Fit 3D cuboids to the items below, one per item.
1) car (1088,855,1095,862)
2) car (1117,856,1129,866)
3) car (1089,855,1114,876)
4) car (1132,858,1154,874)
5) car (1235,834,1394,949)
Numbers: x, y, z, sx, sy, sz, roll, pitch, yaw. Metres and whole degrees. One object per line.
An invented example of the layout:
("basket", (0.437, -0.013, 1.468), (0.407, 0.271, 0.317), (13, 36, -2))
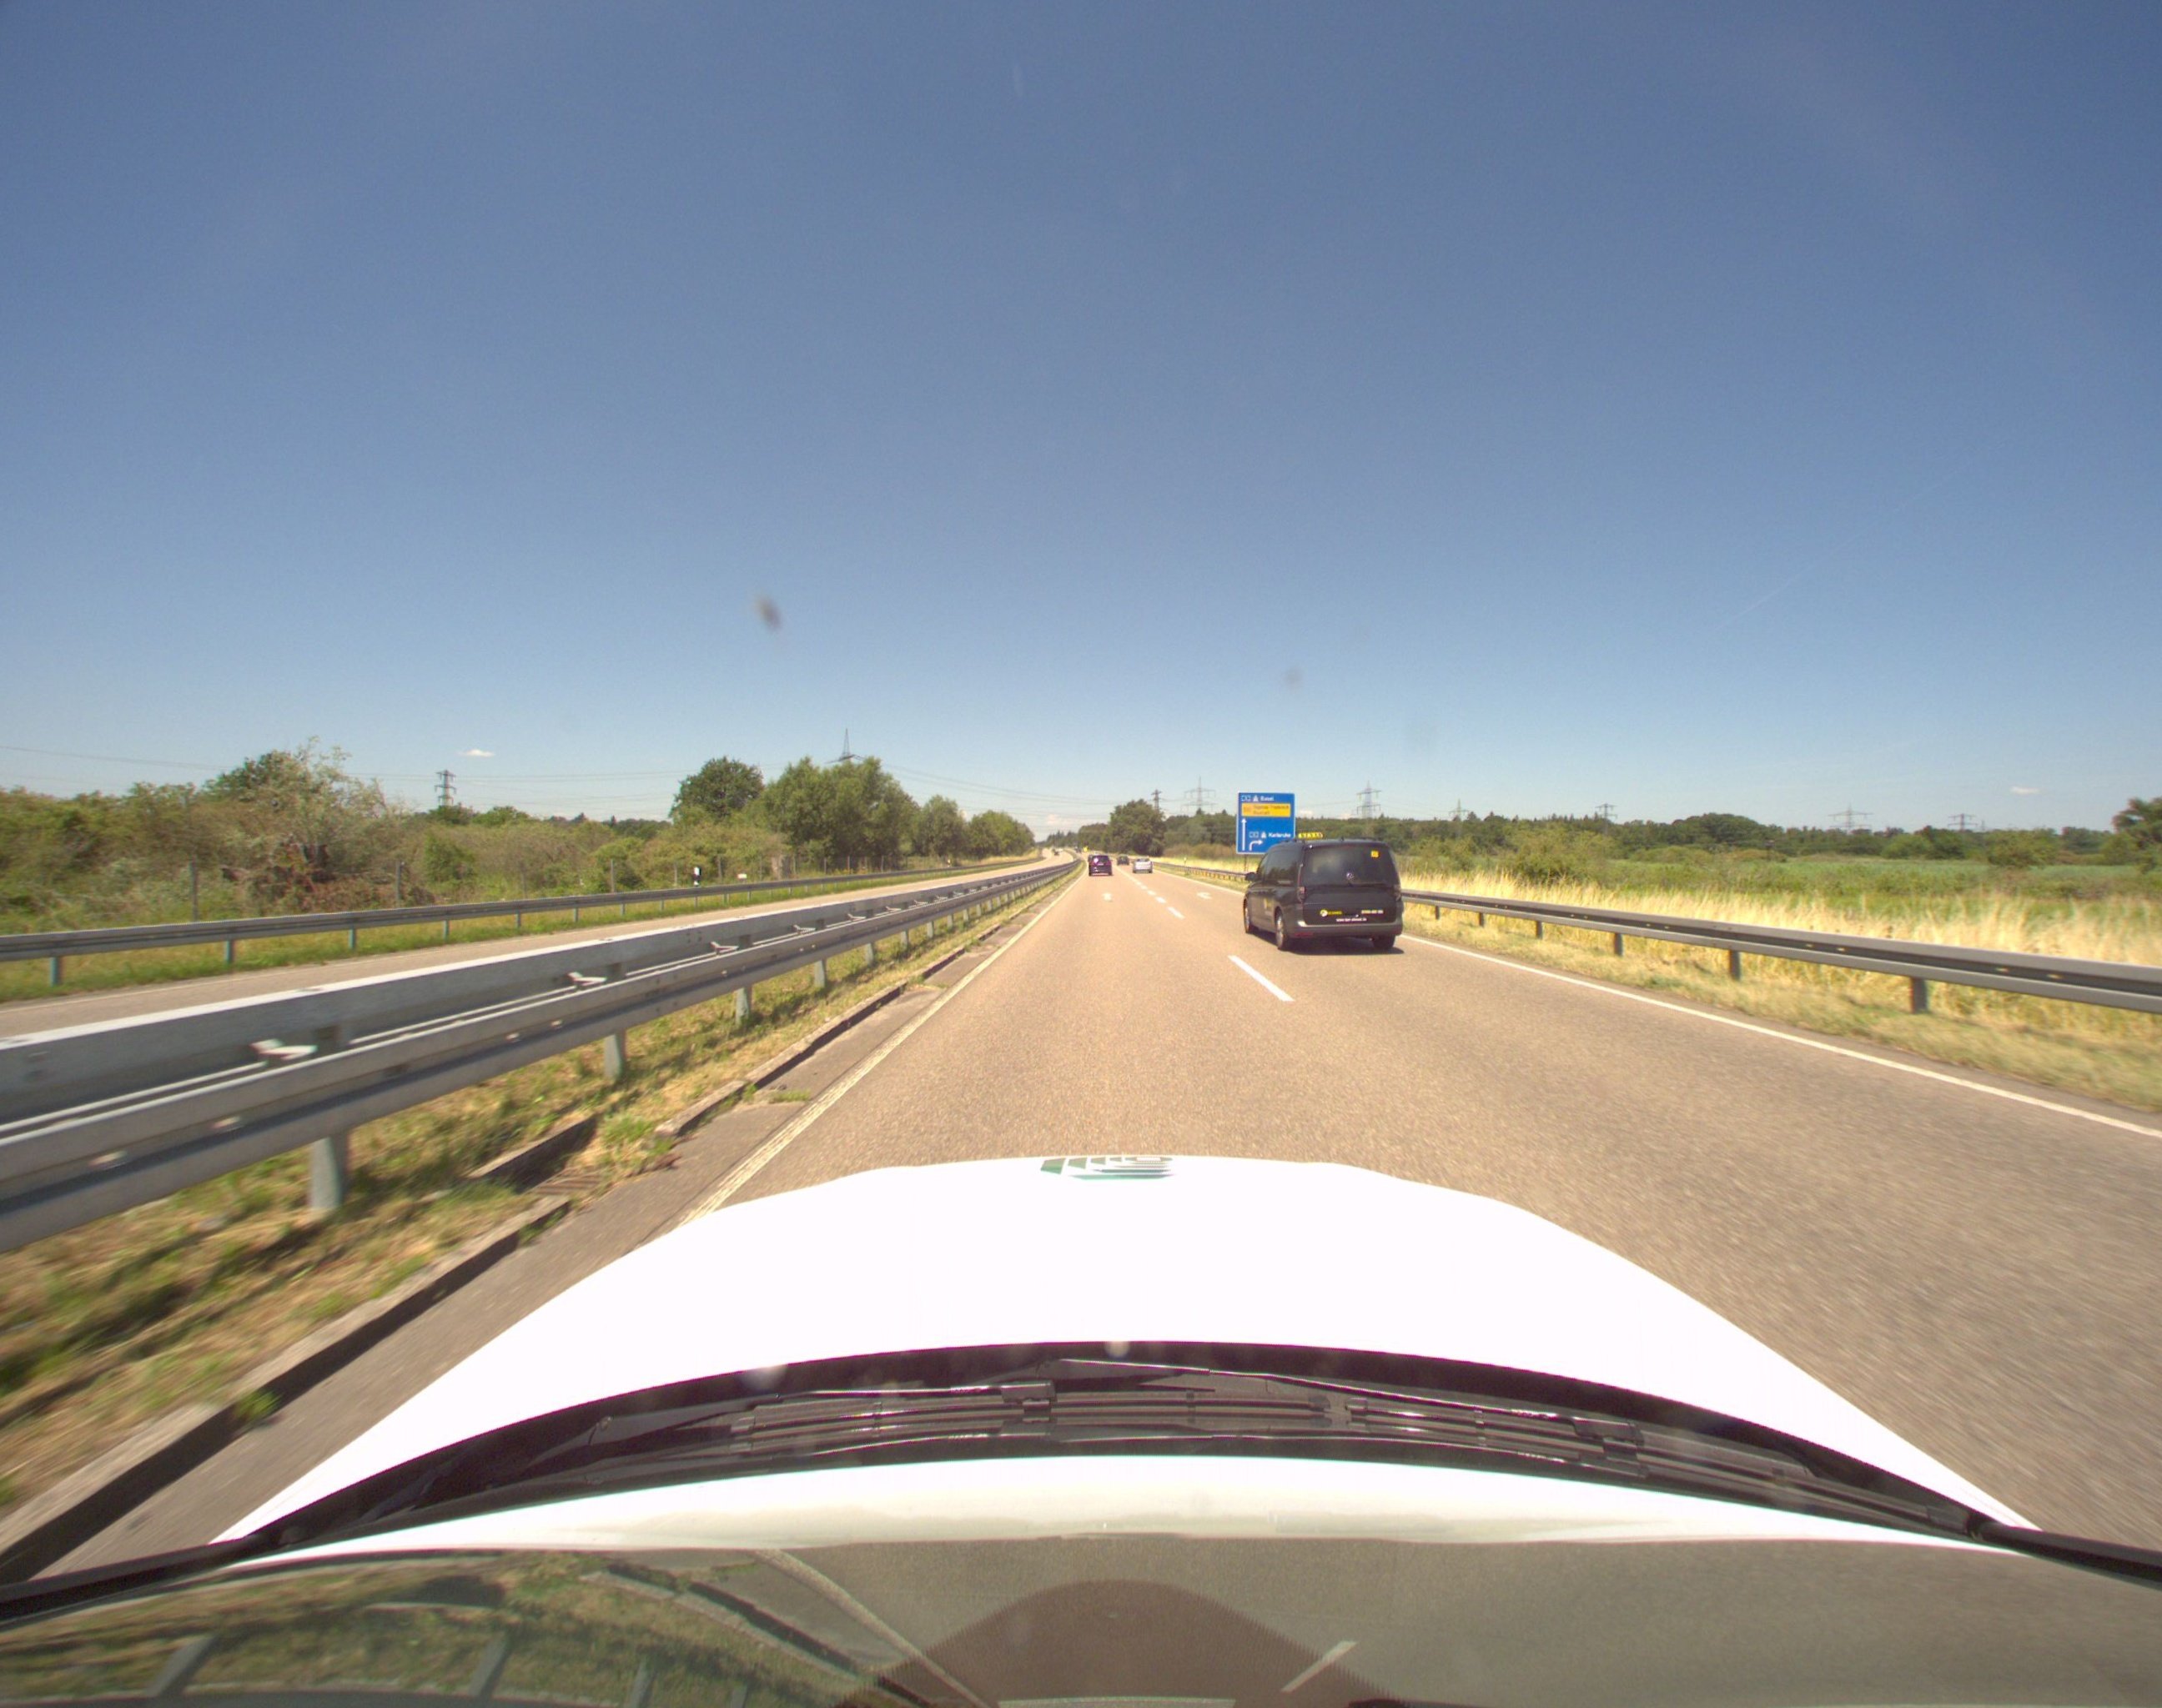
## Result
("car", (2.464, 1.028, 186.104), (1.510, 1.475, 3.065), (1, 0, 0))
("car", (6.242, 1.044, 121.537), (1.812, 1.414, 4.002), (1, 0, 2))
("car", (1.672, 0.922, 67.132), (1.986, 1.654, 4.001), (1, 0, 1))
("car", (5.686, 1.077, 74.720), (1.772, 1.479, 4.316), (1, 0, 1))
("car", (4.096, 0.602, 14.994), (1.773, 1.817, 4.213), (0, 0, 1))
